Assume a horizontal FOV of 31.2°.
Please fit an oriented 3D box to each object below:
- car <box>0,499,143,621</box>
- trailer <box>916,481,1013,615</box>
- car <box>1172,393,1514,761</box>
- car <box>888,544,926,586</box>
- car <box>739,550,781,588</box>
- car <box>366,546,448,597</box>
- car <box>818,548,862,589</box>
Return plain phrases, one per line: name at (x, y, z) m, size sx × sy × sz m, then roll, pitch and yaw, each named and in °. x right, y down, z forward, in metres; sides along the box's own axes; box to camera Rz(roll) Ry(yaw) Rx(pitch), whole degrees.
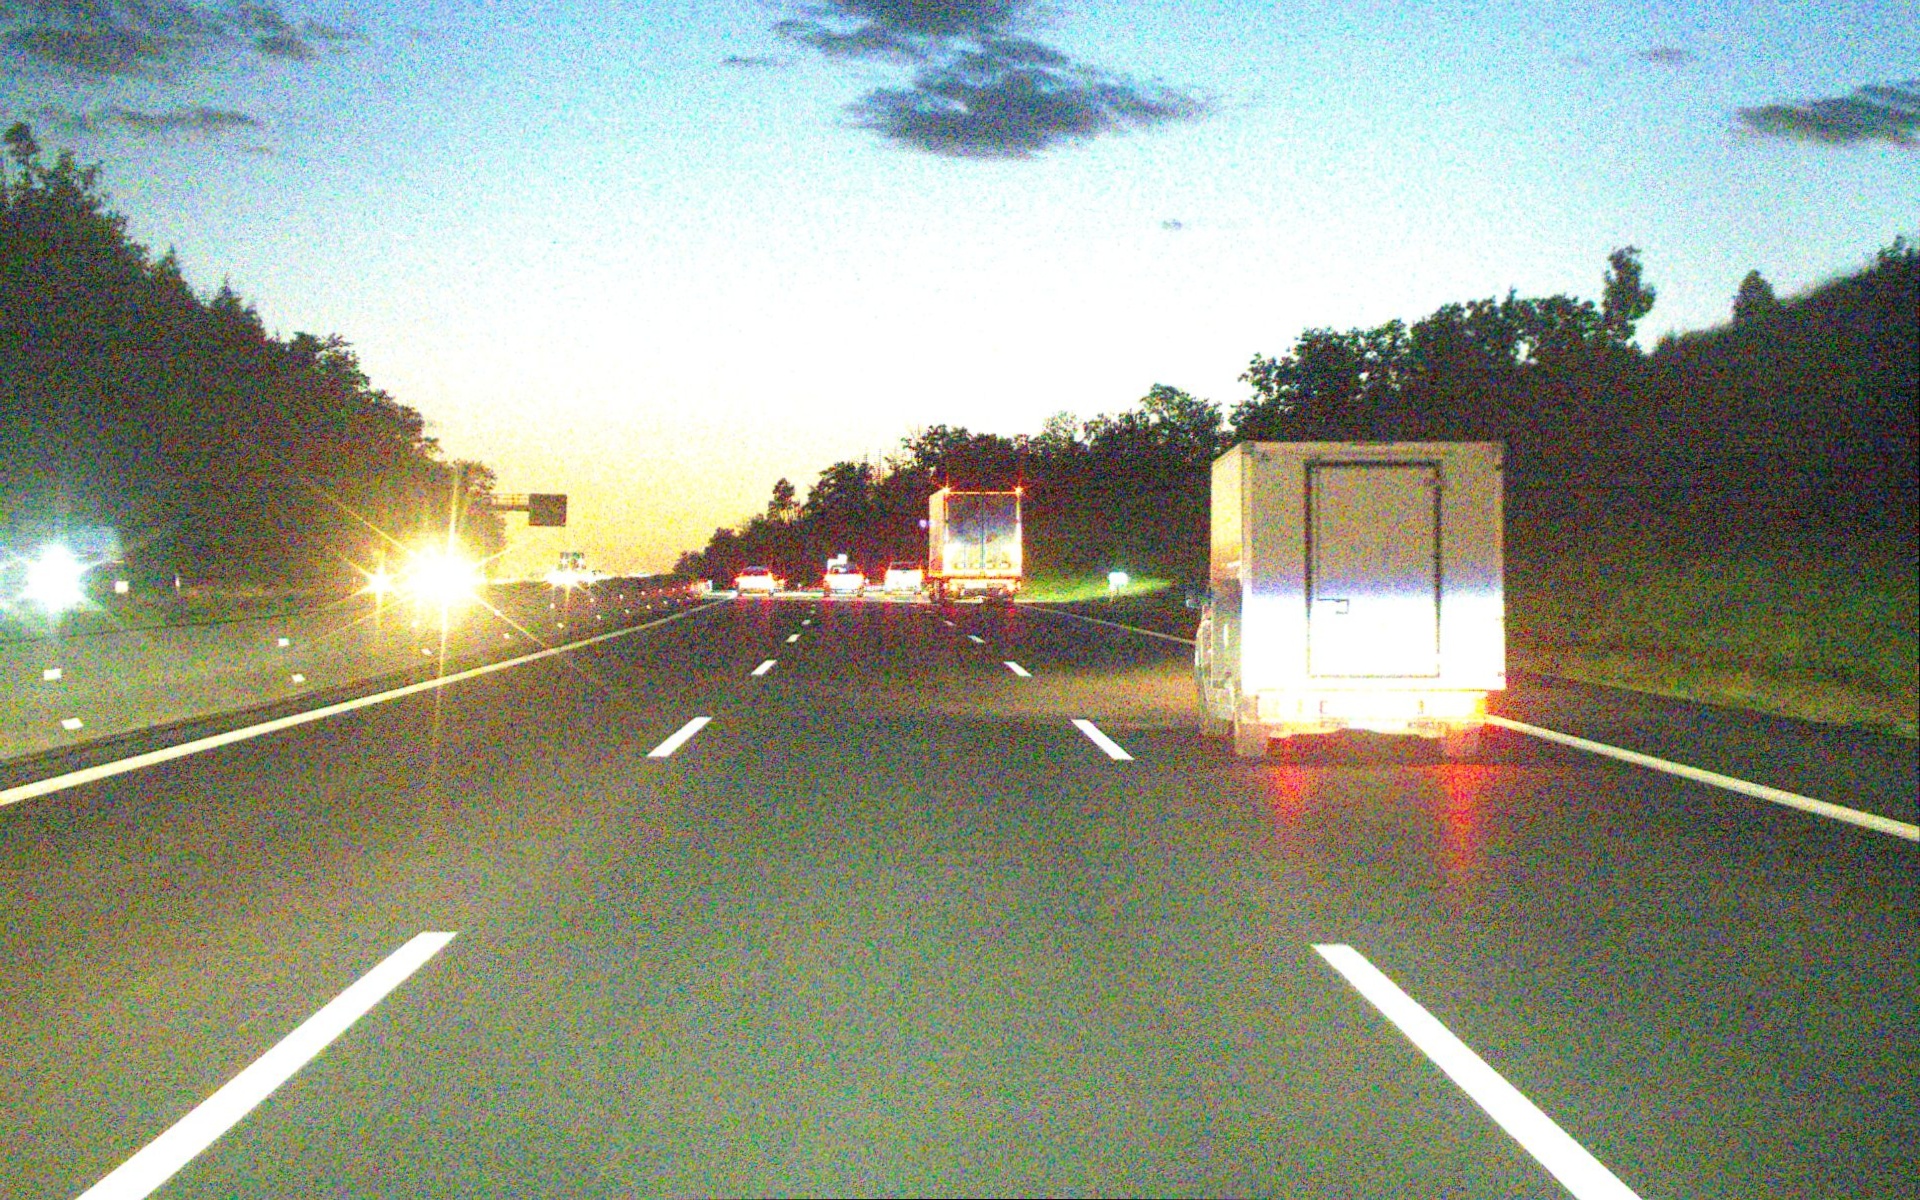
car at (-16.471, -0.734, 62.317) m, size 2.244 × 2.094 × 5.716 m, roll 0°, pitch 1°, yaw -3°
trailer at (0.041, -1.693, 122.430) m, size 2.829 × 4.242 × 17.049 m, roll 0°, pitch -1°, yaw -2°
car at (2.932, -0.193, 27.608) m, size 2.032 × 2.638 × 5.725 m, roll 0°, pitch 1°, yaw -1°
car at (-2.823, -1.859, 183.102) m, size 1.993 × 2.110 × 4.000 m, roll 0°, pitch -1°, yaw 0°
car at (-9.905, -1.515, 169.849) m, size 1.993 × 1.788 × 4.000 m, roll 1°, pitch -1°, yaw -4°
car at (-18.816, -0.981, 117.170) m, size 2.244 × 1.663 × 4.890 m, roll 0°, pitch 1°, yaw -3°
car at (-5.589, -1.463, 159.904) m, size 1.993 × 1.788 × 4.000 m, roll 0°, pitch -1°, yaw -2°
